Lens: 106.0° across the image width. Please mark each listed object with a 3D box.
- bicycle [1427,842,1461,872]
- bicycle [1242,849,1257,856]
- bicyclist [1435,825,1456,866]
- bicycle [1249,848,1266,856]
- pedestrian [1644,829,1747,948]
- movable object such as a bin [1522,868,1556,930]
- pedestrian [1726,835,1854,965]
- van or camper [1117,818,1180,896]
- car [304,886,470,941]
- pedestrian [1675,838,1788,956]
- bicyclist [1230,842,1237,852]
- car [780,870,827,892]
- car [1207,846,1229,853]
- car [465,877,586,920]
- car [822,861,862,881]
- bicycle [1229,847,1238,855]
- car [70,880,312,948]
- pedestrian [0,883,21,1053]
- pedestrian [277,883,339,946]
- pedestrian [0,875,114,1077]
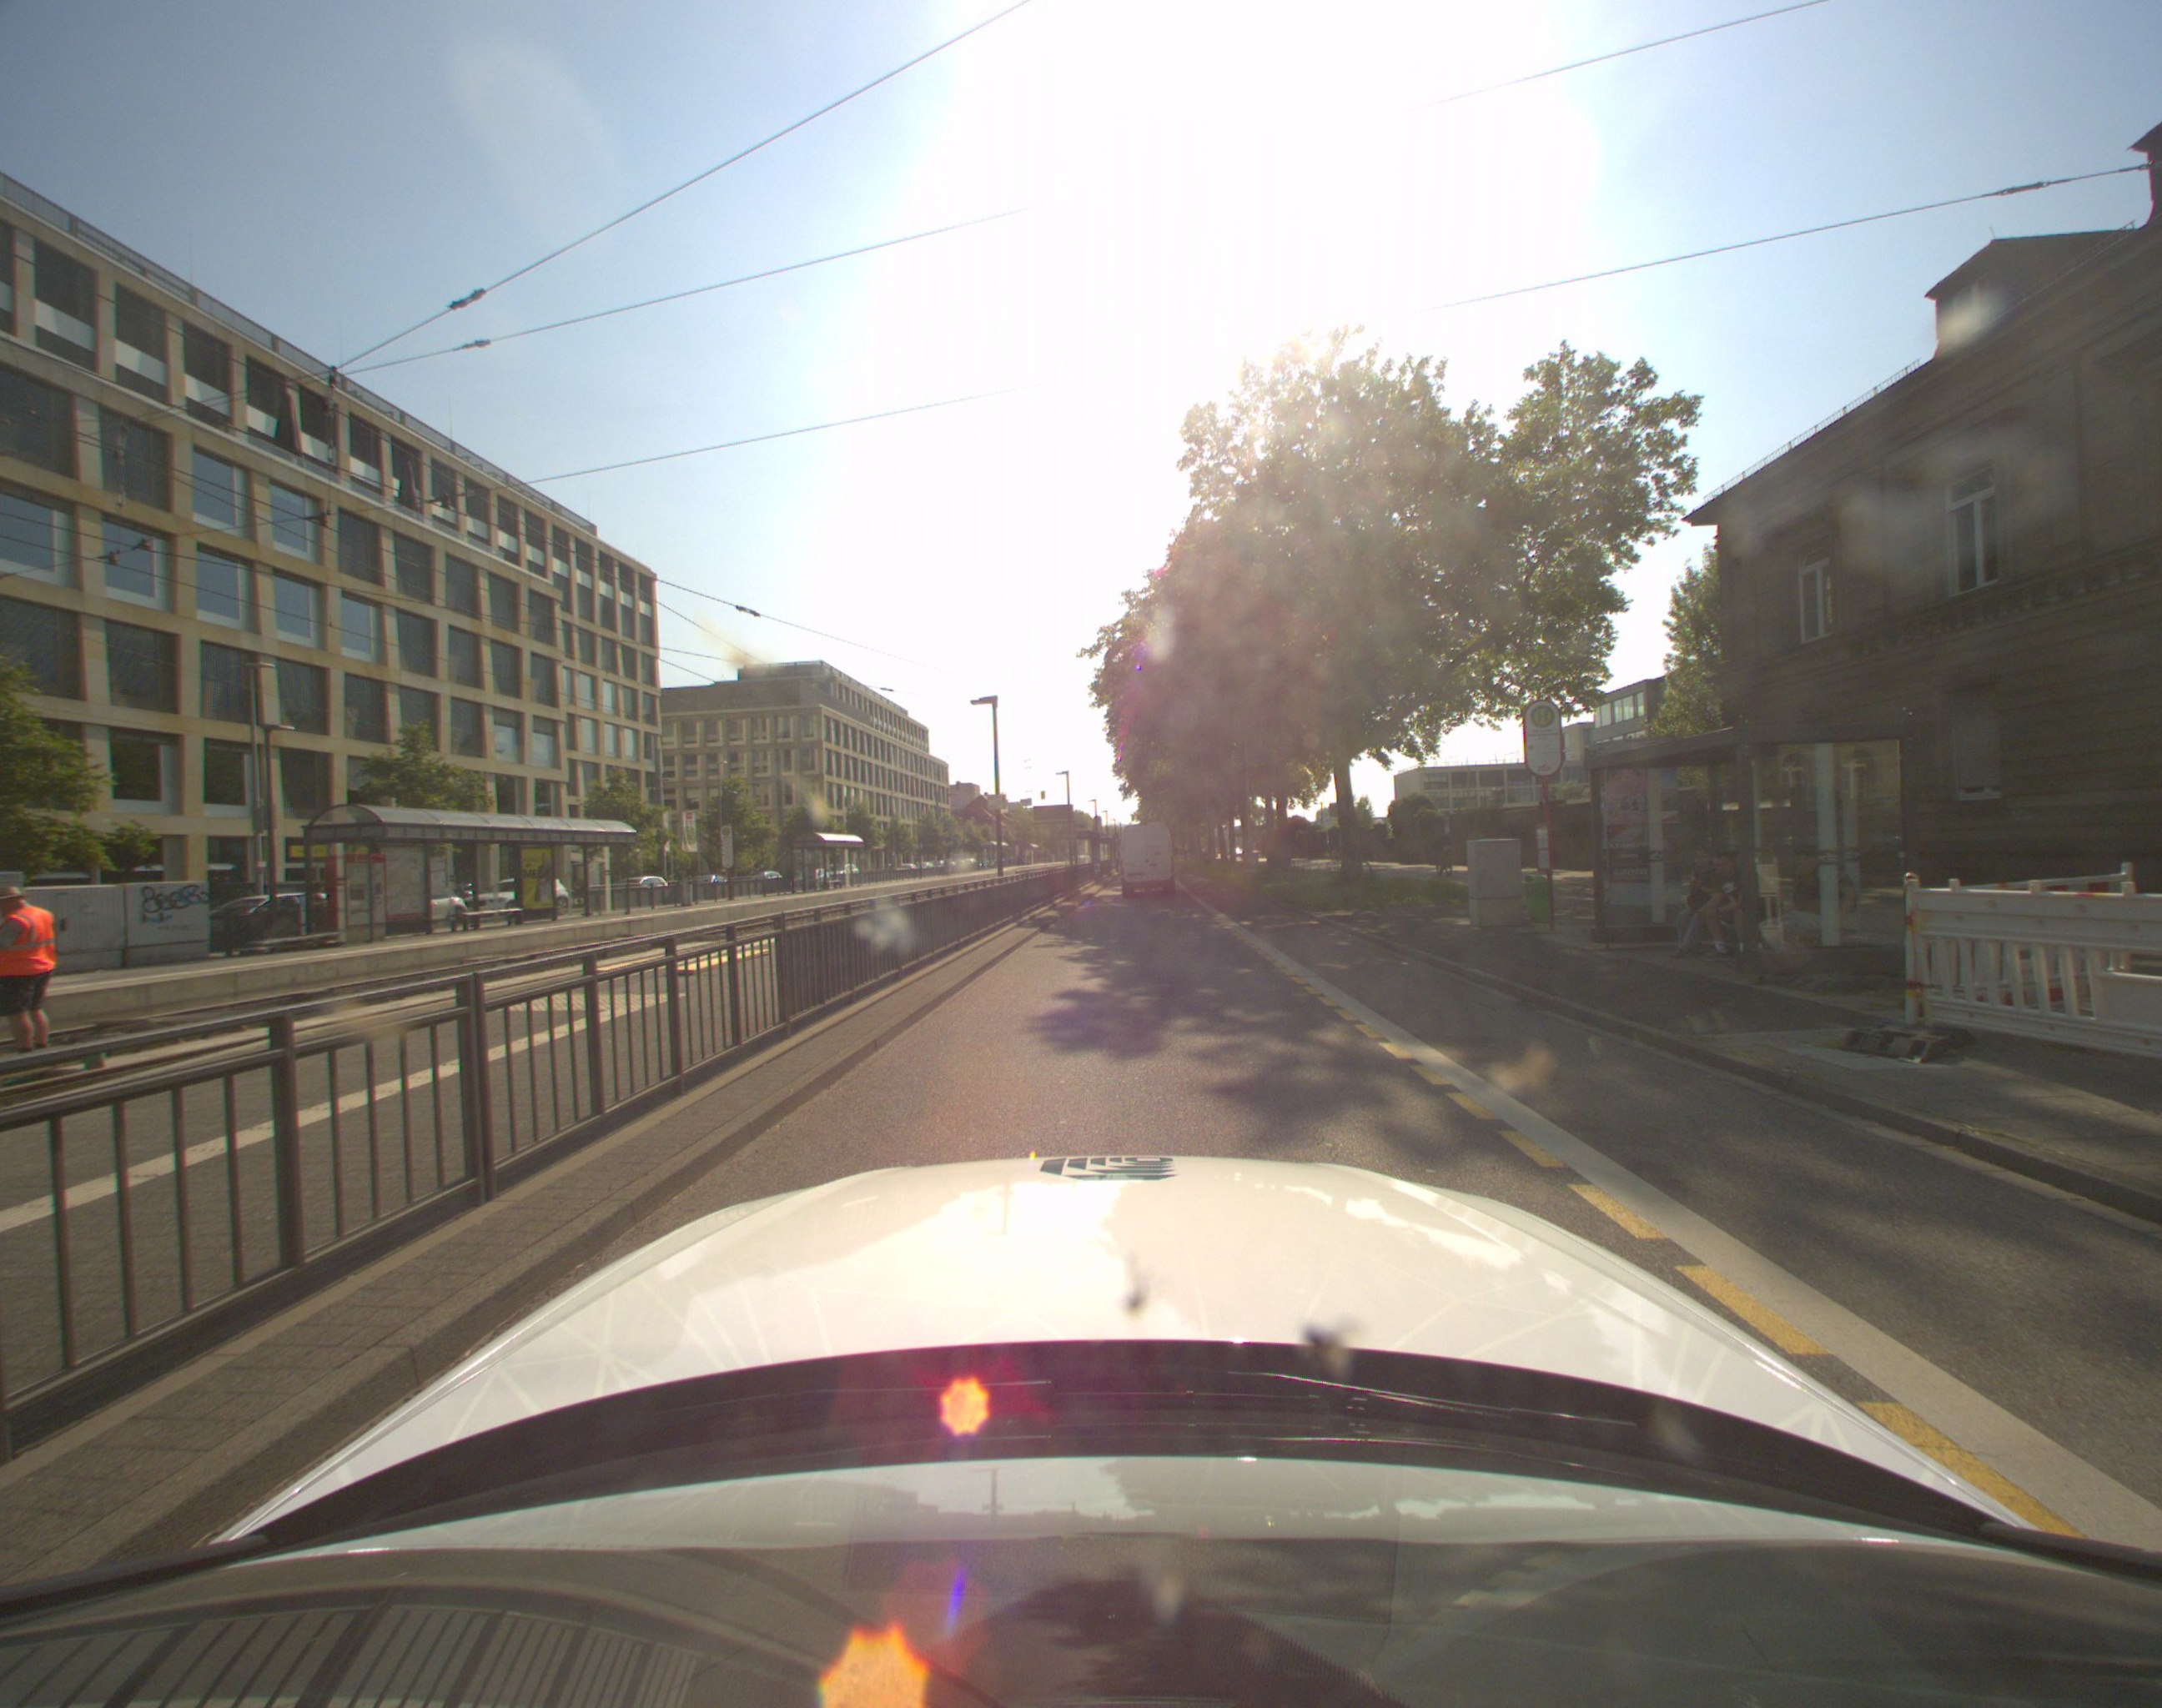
[{"bbox_3d":[13.914,0.118,31.259,0.489,1.089,1.858,-3,0,2],"label":"bicycle"},{"bbox_3d":[22.465,-0.204,108.494,1.923,0.847,0.372,-4,0,4],"label":"bicycle"},{"bbox_3d":[13.895,-0.327,31.066,0.467,1.539,0.596,-3,0,1],"label":"bicyclist"},{"bbox_3d":[22.914,-0.228,105.788,2.170,0.847,0.504,-4,0,4],"label":"bicycle"},{"bbox_3d":[7.338,0.406,9.752,0.747,1.366,0.612,-1,-1,4],"label":"pedestrian"},{"bbox_3d":[6.964,0.679,12.378,0.270,0.915,0.386,-3,0,2],"label":"movable object such as a bin"},{"bbox_3d":[7.193,0.459,8.295,0.737,1.261,0.612,-1,-1,4],"label":"pedestrian"},{"bbox_3d":[2.502,0.099,31.275,2.107,2.682,5.253,-1,0,2],"label":"van or camper"},{"bbox_3d":[-22.969,1.928,27.195,1.893,1.403,4.004,-3,0,4],"label":"car"},{"bbox_3d":[7.232,0.470,9.086,0.737,1.261,0.612,-1,-1,4],"label":"pedestrian"},{"bbox_3d":[18.567,-0.859,99.262,0.666,1.276,0.729,-3,0,3],"label":"bicyclist"},{"bbox_3d":[-20.619,1.993,60.709,1.676,1.407,4.378,-3,0,4],"label":"car"},{"bbox_3d":[26.648,-0.887,158.820,3.969,1.376,2.002,-1,-1,4],"label":"car"},{"bbox_3d":[-22.512,1.762,33.246,1.676,1.407,4.378,-3,0,4],"label":"car"},{"bbox_3d":[-19.634,1.395,67.082,1.676,1.407,4.375,-3,0,4],"label":"car"},{"bbox_3d":[18.614,-0.368,99.374,0.678,1.005,2.220,-3,0,4],"label":"bicycle"},{"bbox_3d":[-23.574,1.523,21.829,1.893,1.403,4.004,-3,0,4],"label":"car"},{"bbox_3d":[-11.854,1.235,8.514,0.626,1.815,0.636,-3,0,-20],"label":"pedestrian"},{"bbox_3d":[-21.748,1.680,22.929,0.832,1.676,0.882,-3,0,7],"label":"pedestrian"},{"bbox_3d":[-10.908,1.228,8.488,0.717,1.950,0.792,-3,0,19],"label":"pedestrian"}]
